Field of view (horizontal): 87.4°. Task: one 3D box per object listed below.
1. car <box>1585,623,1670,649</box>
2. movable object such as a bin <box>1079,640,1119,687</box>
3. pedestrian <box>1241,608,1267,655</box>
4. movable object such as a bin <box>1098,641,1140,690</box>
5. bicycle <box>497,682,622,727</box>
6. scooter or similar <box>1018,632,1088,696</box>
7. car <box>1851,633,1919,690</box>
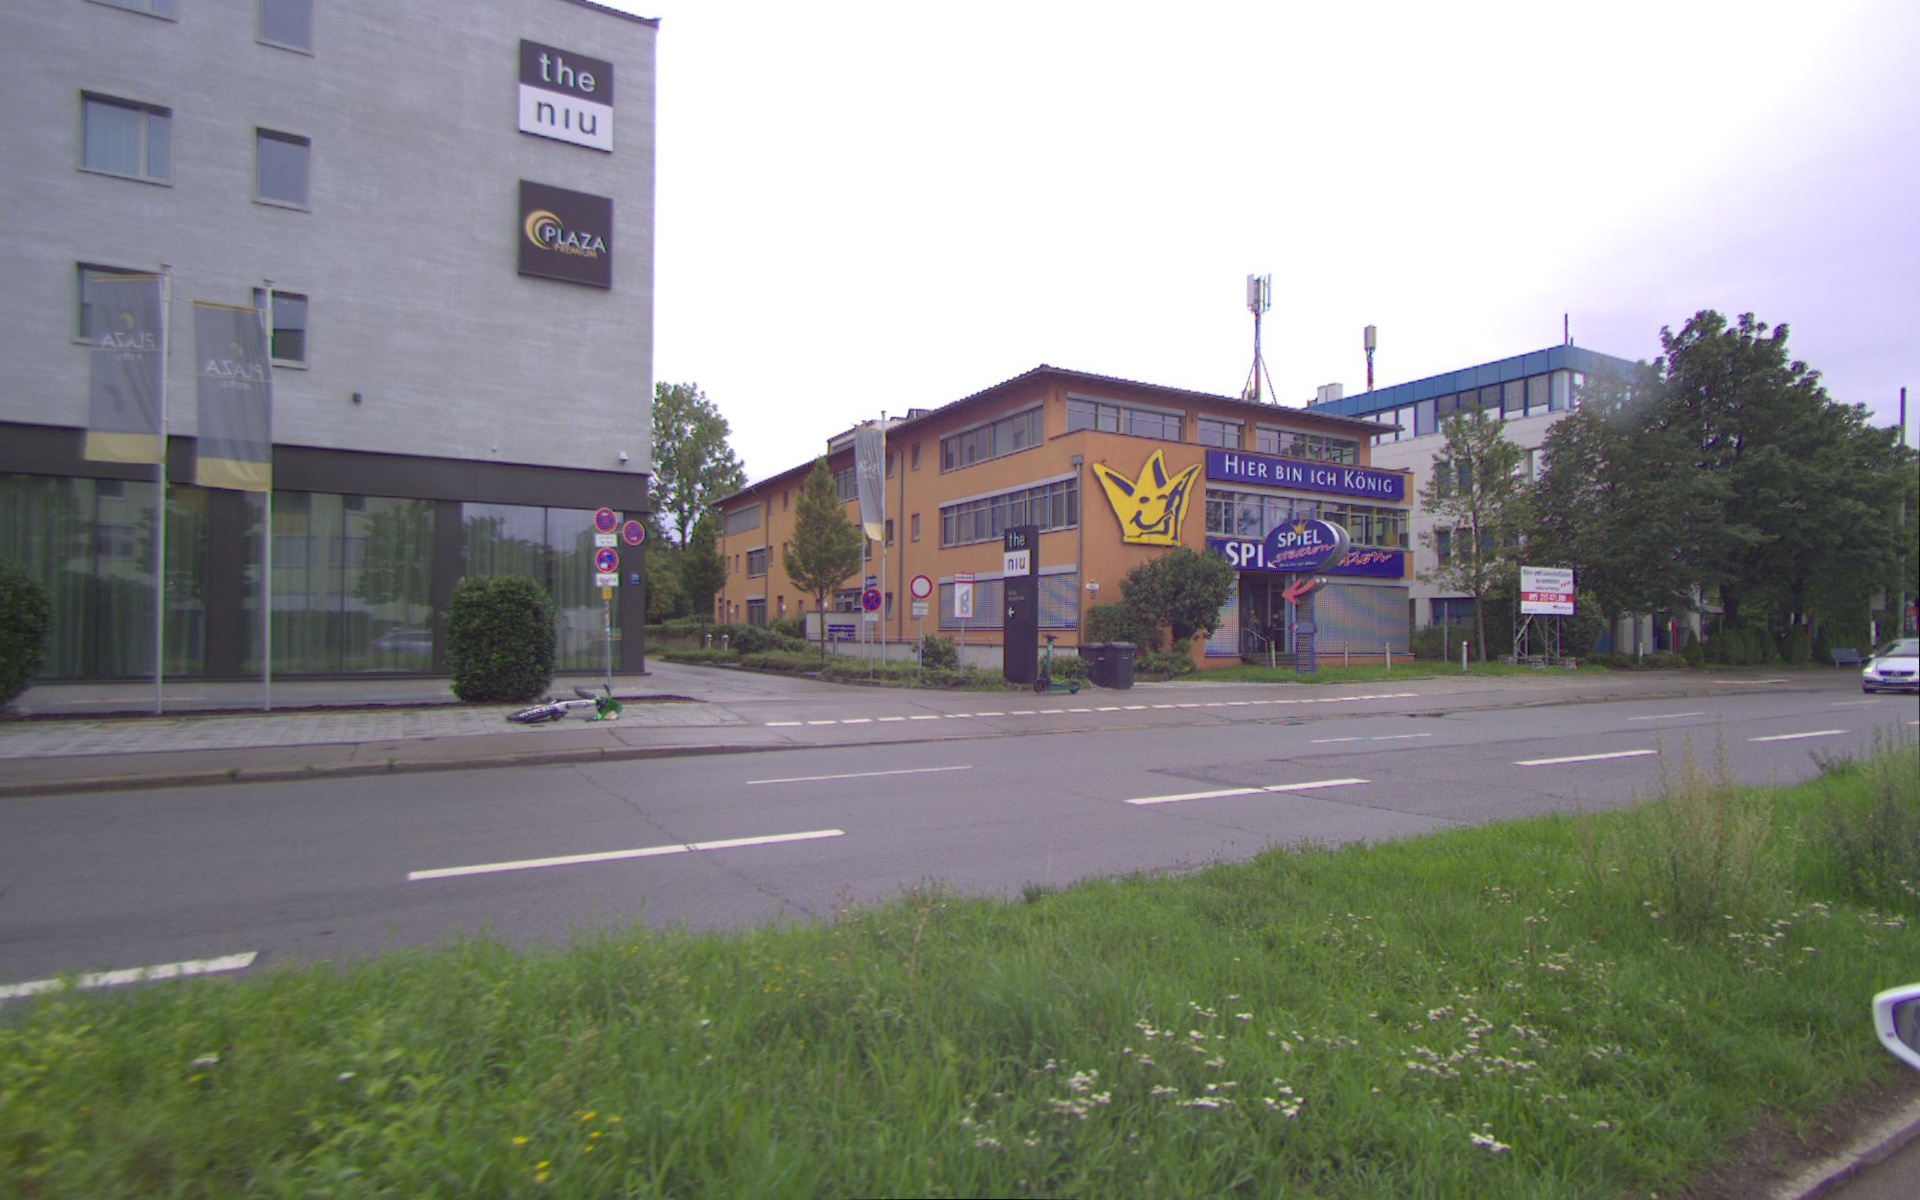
[{"bbox_3d":[40.039,2.146,60.398,1.837,1.437,4.167,1,-1,-12],"label":"car"},{"bbox_3d":[3.344,1.530,24.238,0.647,1.092,0.734,1,0,-29],"label":"movable object such as a bin"},{"bbox_3d":[11.009,1.184,37.661,0.654,1.735,0.656,1,0,-26],"label":"pedestrian"},{"bbox_3d":[3.701,1.521,23.459,0.647,1.092,0.734,1,0,-29],"label":"movable object such as a bin"},{"bbox_3d":[-6.196,1.601,15.558,1.712,0.556,0.716,1,2,-30],"label":"bicycle"},{"bbox_3d":[2.018,1.377,21.829,1.387,1.295,0.583,1,3,-29],"label":"scooter or similar"},{"bbox_3d":[27.821,1.759,29.065,3.976,1.578,1.807,1,-3,-28],"label":"car"}]
